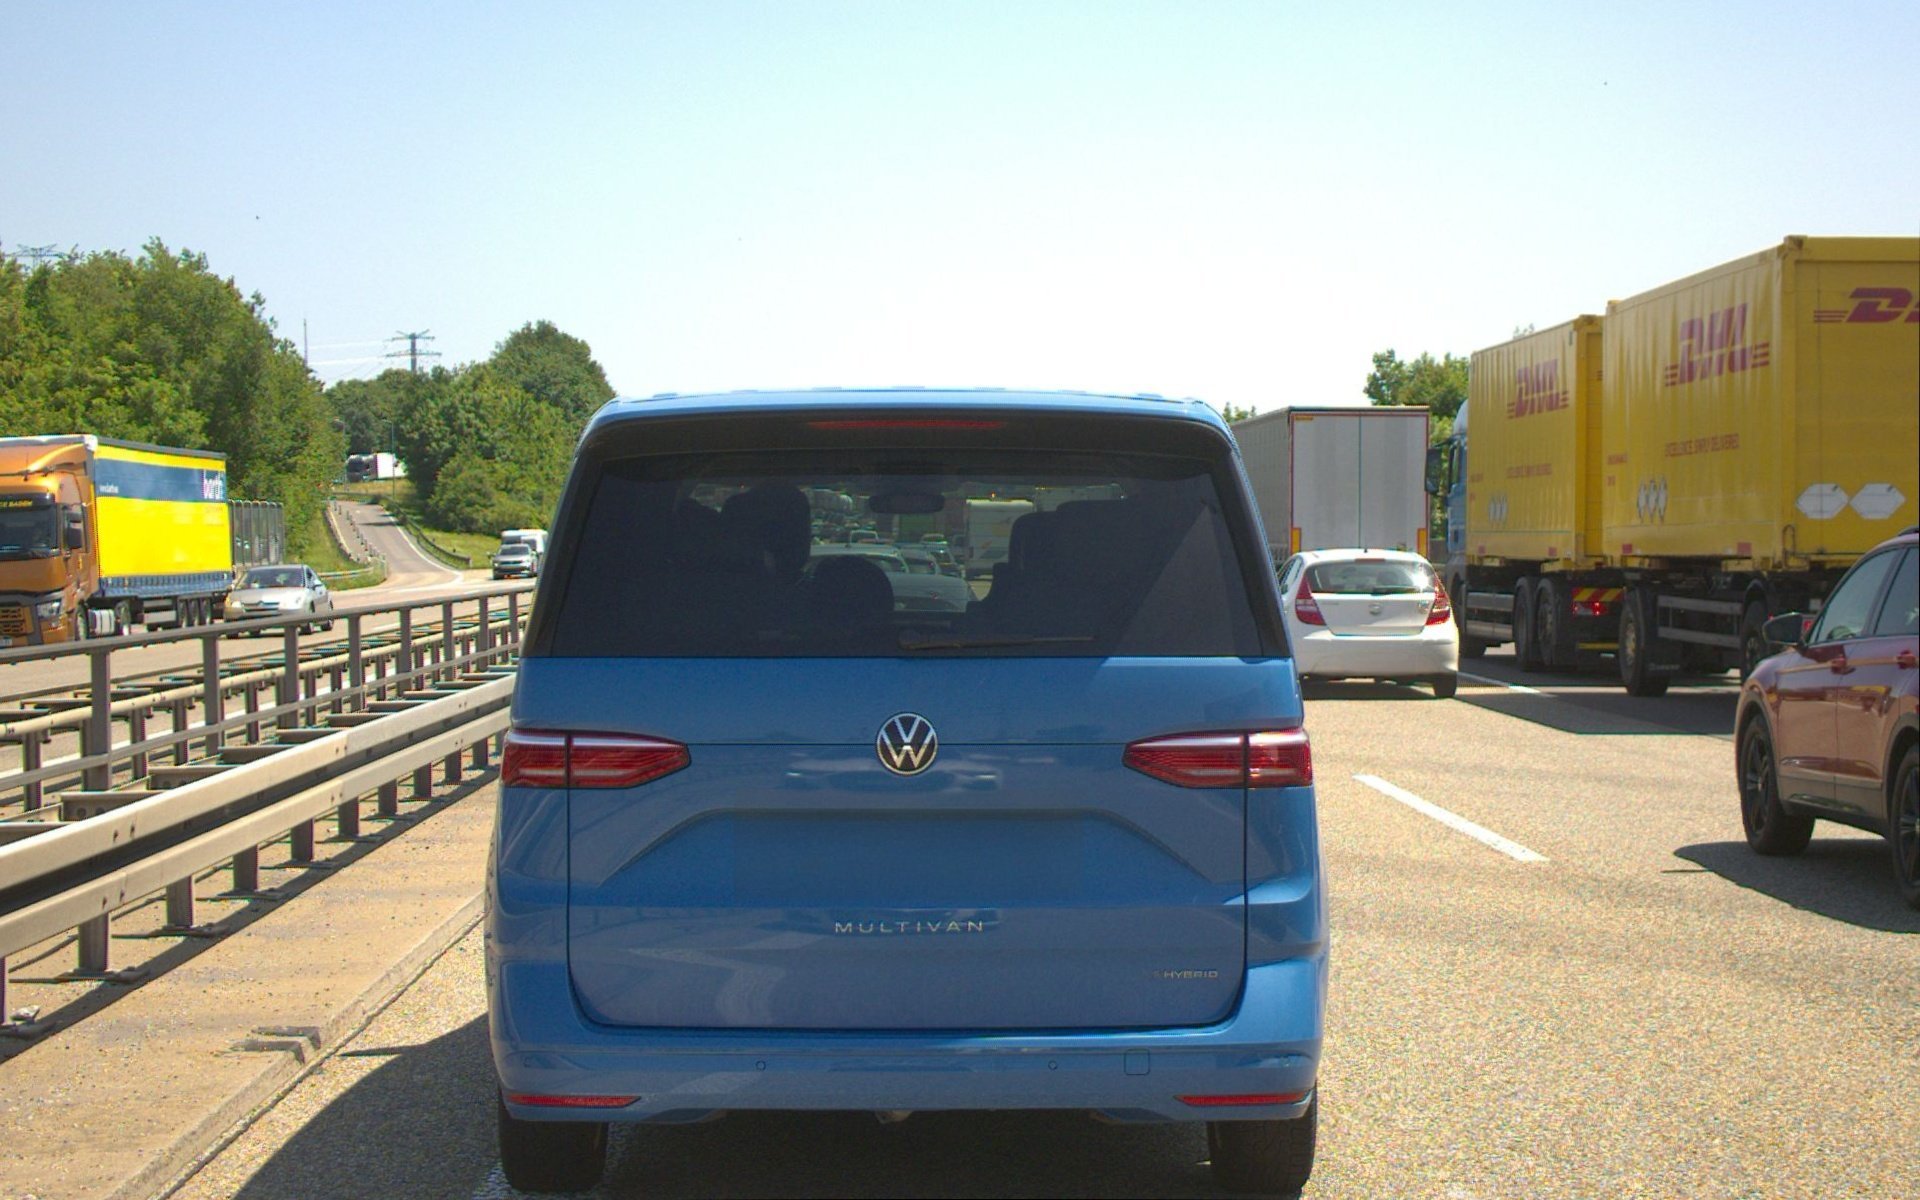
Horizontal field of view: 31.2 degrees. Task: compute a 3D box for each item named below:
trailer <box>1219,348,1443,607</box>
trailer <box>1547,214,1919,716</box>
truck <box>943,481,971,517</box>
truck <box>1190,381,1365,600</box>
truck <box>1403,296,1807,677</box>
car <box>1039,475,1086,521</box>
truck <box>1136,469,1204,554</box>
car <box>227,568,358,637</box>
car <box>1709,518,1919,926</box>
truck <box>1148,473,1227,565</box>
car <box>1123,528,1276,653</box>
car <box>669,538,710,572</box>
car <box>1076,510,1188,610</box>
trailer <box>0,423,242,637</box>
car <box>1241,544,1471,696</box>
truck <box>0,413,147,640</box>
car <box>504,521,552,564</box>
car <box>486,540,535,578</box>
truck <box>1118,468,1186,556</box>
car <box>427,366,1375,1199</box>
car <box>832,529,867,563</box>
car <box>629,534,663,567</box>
[{"bbox_3d":[7.067,-2.244,67.154,3.026,4.595,10.925,1,0,-1],"label":"trailer"},{"bbox_3d":[7.866,-1.131,32.559,2.682,4.074,8.981,1,0,-2],"label":"trailer"},{"bbox_3d":[-0.250,-7.536,257.288,1.993,2.576,4.553,1,0,-1],"label":"truck"},{"bbox_3d":[6.971,-2.343,76.590,3.026,4.595,7.921,1,0,-1],"label":"truck"},{"bbox_3d":[7.599,-1.265,42.041,2.699,4.074,9.941,1,0,-2],"label":"truck"},{"bbox_3d":[4.740,-4.720,159.188,1.993,2.007,4.000,1,0,-1],"label":"car"},{"bbox_3d":[6.596,-2.774,108.513,1.797,2.587,4.306,1,0,-1],"label":"truck"},{"bbox_3d":[-13.636,0.032,70.401,1.689,1.299,4.012,-3,0,2],"label":"car"},{"bbox_3d":[4.752,0.461,15.536,1.708,1.673,4.285,-1,1,-1],"label":"car"},{"bbox_3d":[6.228,-2.198,94.394,1.798,2.441,4.504,1,0,-1],"label":"truck"},{"bbox_3d":[3.331,-0.147,48.380,1.815,1.673,3.932,1,0,-1],"label":"car"},{"bbox_3d":[-13.980,-2.321,177.703,1.842,1.745,3.943,1,0,-1],"label":"car"},{"bbox_3d":[3.440,-0.798,69.362,1.962,1.929,3.932,1,0,-1],"label":"car"},{"bbox_3d":[-17.920,-1.402,73.180,2.628,4.100,14.017,-1,0,-1],"label":"trailer"},{"bbox_3d":[4.032,0.177,35.586,1.815,1.465,3.932,1,0,-2],"label":"car"},{"bbox_3d":[-17.789,-1.371,66.566,2.671,4.170,6.288,-1,0,-1],"label":"truck"},{"bbox_3d":[-20.899,-2.788,166.421,1.842,2.035,3.943,1,0,-1],"label":"car"},{"bbox_3d":[-21.028,-1.917,160.961,1.842,1.745,3.943,1,0,-1],"label":"car"},{"bbox_3d":[5.756,-2.622,103.588,1.742,2.540,4.210,1,0,-1],"label":"truck"},{"bbox_3d":[-0.157,0.447,9.080,1.930,1.867,4.000,1,0,-1],"label":"car"},{"bbox_3d":[-6.574,-3.210,204.375,1.993,2.007,4.000,1,0,-1],"label":"car"},{"bbox_3d":[-19.949,-3.144,218.663,1.842,2.035,3.943,1,0,-1],"label":"car"}]
